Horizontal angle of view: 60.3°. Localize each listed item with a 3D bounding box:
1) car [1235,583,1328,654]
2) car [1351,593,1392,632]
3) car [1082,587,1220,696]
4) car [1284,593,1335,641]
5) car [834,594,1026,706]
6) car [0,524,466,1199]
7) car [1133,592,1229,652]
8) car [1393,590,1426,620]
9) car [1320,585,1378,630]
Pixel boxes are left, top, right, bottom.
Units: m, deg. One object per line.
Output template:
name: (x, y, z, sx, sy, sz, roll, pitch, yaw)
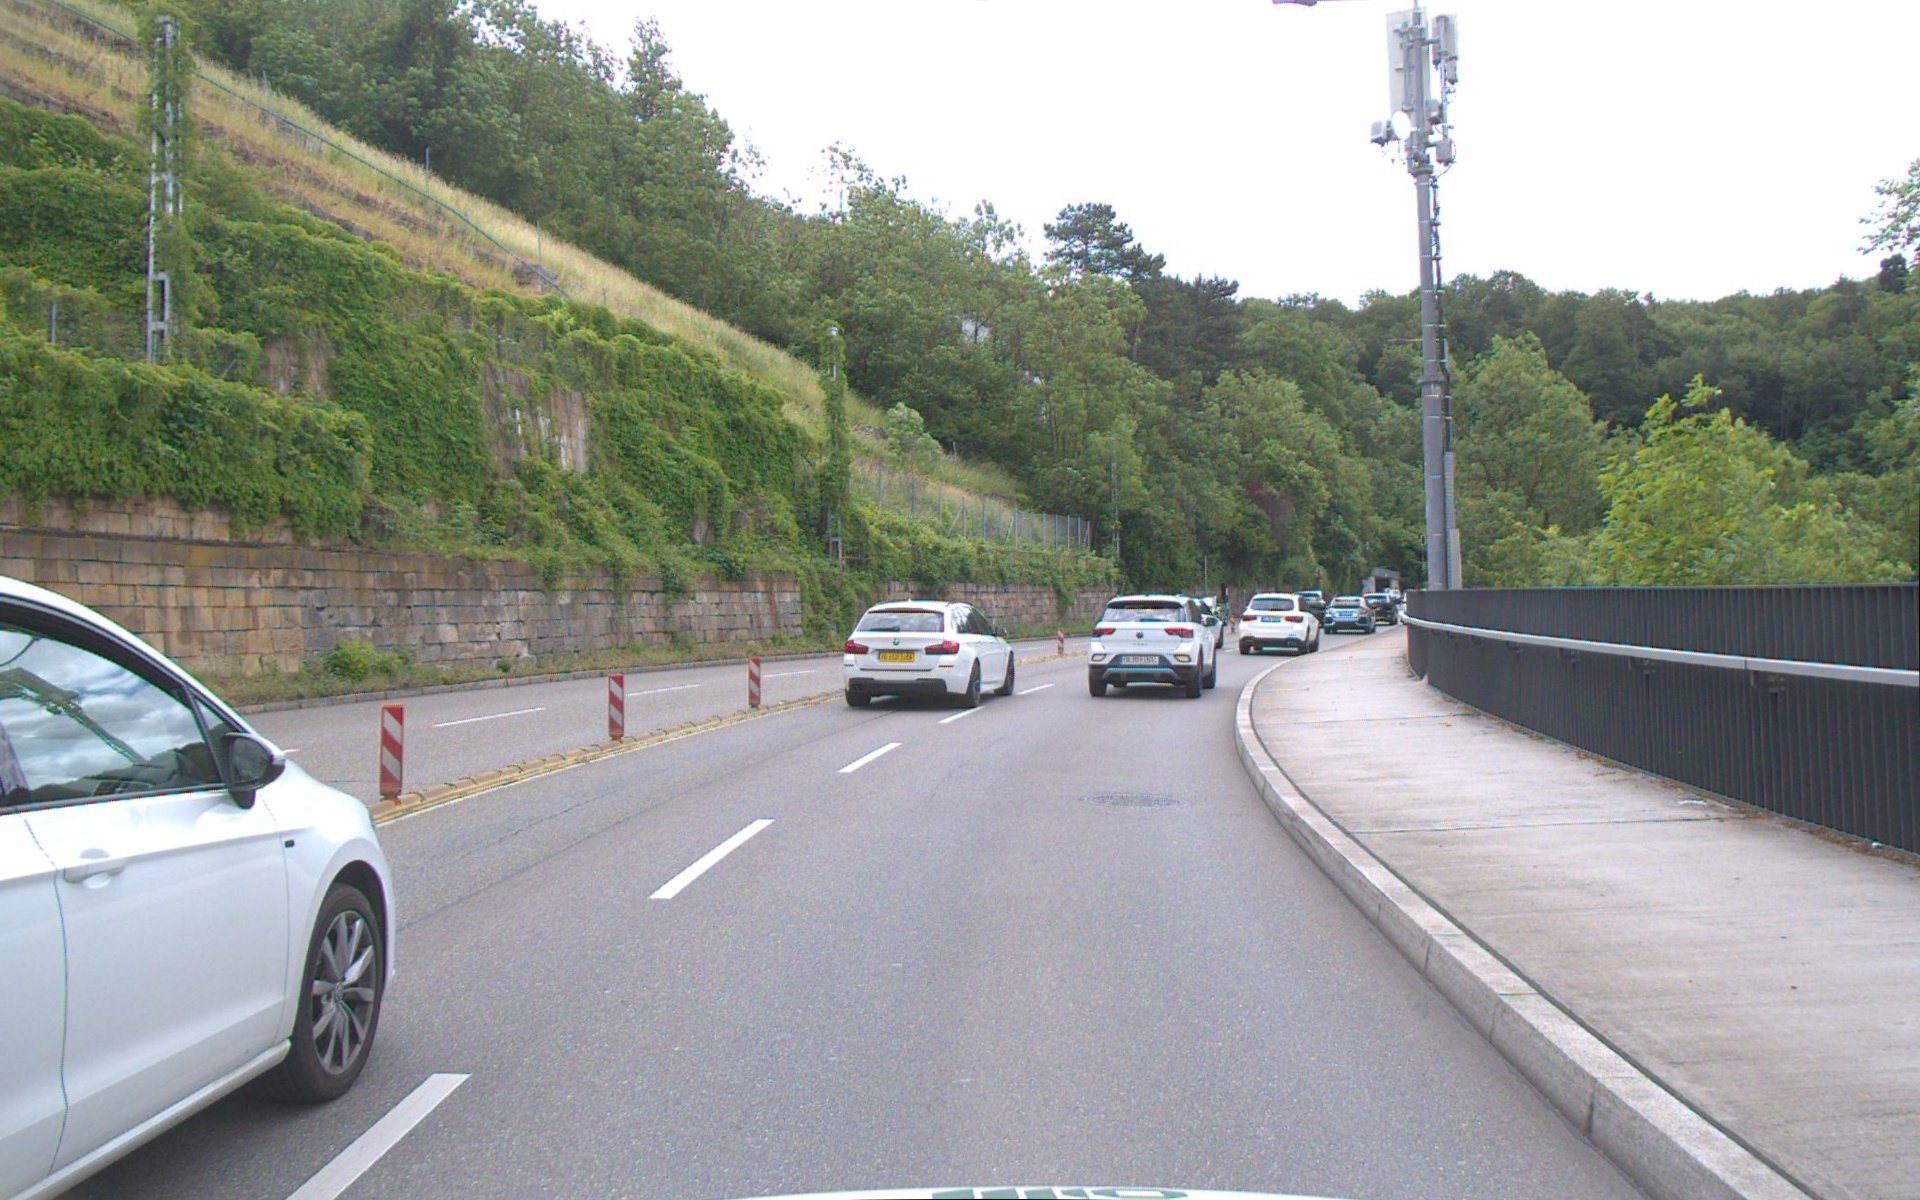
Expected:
car: (8.929, 0.514, 45.682, 1.952, 1.748, 4.115, -4, -2, 18)
car: (19.533, 0.571, 78.453, 1.707, 1.812, 3.536, 0, 0, 17)
car: (3.185, 0.644, 26.905, 1.789, 1.634, 4.003, 0, -1, 13)
car: (15.913, 0.756, 75.204, 1.951, 2.049, 4.003, -3, -1, 15)
car: (-0.325, 0.650, 24.256, 1.789, 1.485, 4.489, 0, 0, 13)
car: (-2.634, 0.655, 3.519, 1.783, 1.608, 4.356, 1, 0, 1)
car: (6.375, 0.596, 47.295, 1.952, 1.529, 4.670, 3, 1, 17)
car: (28.960, 0.290, 106.494, 1.951, 1.892, 4.002, 0, 0, 17)
car: (15.374, 0.293, 65.226, 1.951, 1.747, 4.002, 0, 0, 17)
